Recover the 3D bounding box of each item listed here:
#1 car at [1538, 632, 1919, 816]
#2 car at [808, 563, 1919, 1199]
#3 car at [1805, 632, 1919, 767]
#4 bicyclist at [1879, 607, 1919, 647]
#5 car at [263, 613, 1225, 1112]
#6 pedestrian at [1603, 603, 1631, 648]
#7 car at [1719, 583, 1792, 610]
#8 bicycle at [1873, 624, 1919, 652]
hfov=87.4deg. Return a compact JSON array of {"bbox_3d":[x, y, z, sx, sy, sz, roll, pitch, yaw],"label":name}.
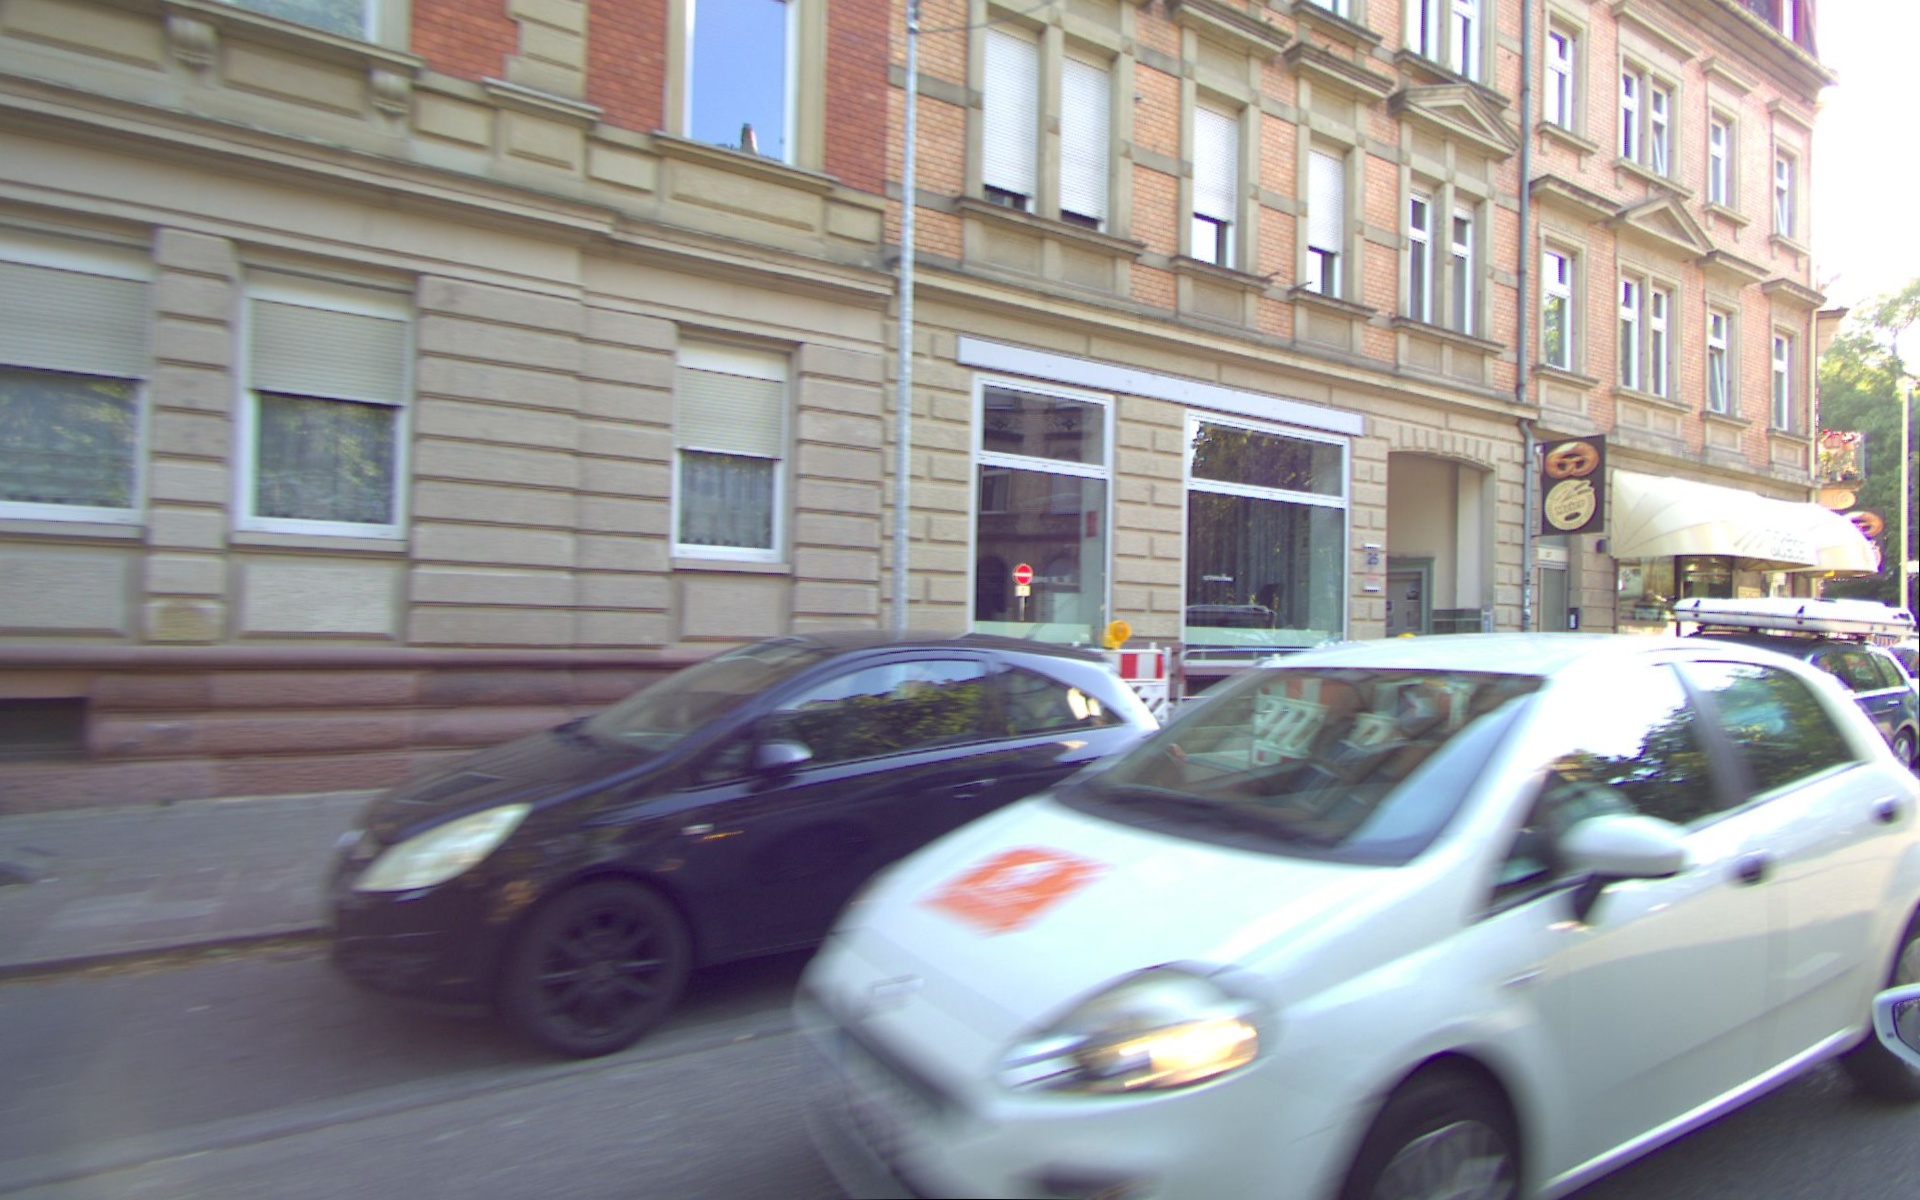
[{"bbox_3d":[7.796,1.074,9.992,4.252,1.456,1.755,1,-1,-32],"label":"car"},{"bbox_3d":[1.672,0.764,3.333,3.953,1.529,1.741,1,-1,-30],"label":"car"},{"bbox_3d":[12.367,1.173,12.379,3.948,1.456,1.717,1,1,-30],"label":"car"},{"bbox_3d":[34.354,0.987,36.762,0.790,1.402,0.984,1,0,25],"label":"bicyclist"},{"bbox_3d":[-0.788,0.832,4.752,3.974,1.473,1.695,1,-2,-31],"label":"car"},{"bbox_3d":[30.014,1.153,45.905,0.925,2.040,0.958,1,-1,26],"label":"pedestrian"},{"bbox_3d":[61.485,-0.277,77.728,4.315,2.040,1.926,1,0,39],"label":"car"},{"bbox_3d":[34.359,1.373,36.763,0.790,0.981,2.107,1,0,25],"label":"bicycle"}]
